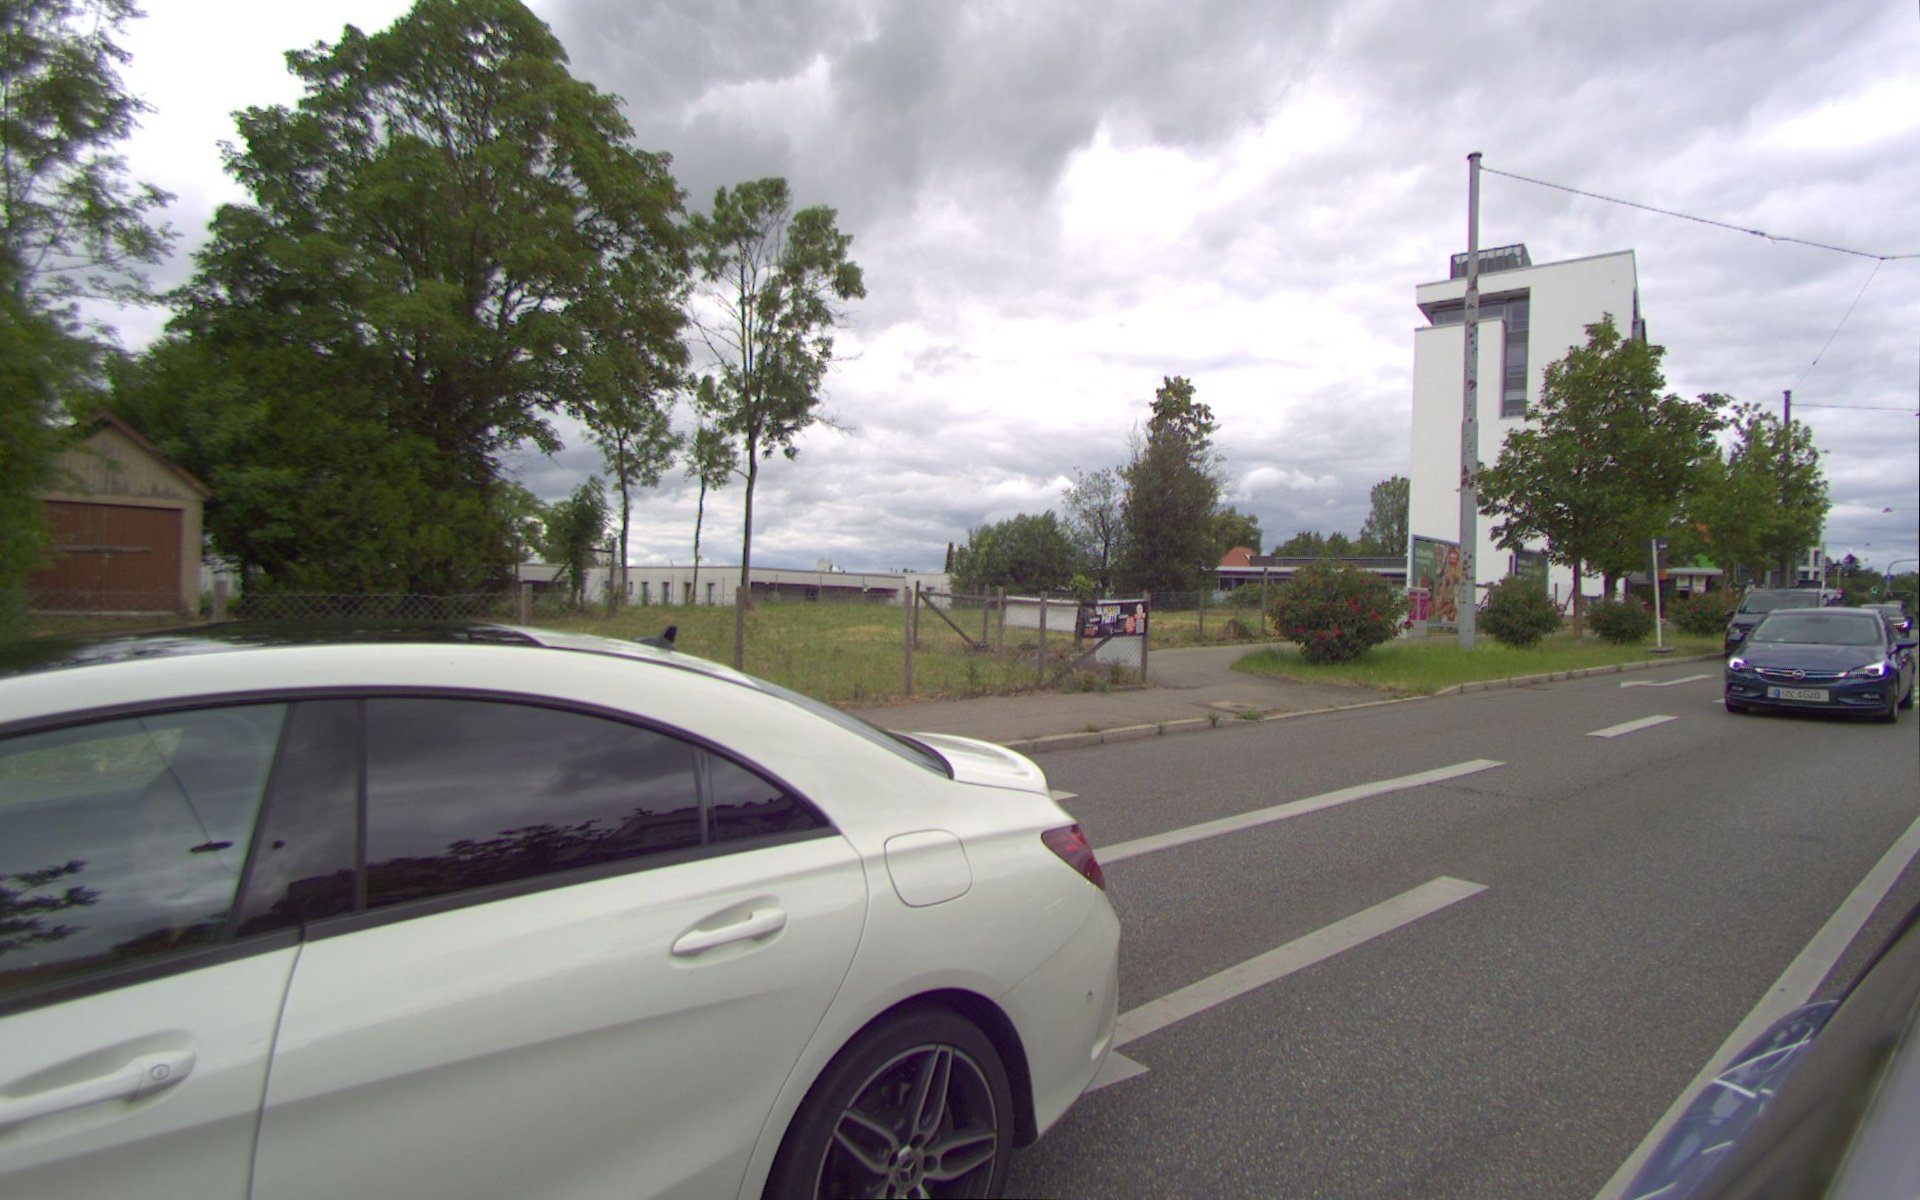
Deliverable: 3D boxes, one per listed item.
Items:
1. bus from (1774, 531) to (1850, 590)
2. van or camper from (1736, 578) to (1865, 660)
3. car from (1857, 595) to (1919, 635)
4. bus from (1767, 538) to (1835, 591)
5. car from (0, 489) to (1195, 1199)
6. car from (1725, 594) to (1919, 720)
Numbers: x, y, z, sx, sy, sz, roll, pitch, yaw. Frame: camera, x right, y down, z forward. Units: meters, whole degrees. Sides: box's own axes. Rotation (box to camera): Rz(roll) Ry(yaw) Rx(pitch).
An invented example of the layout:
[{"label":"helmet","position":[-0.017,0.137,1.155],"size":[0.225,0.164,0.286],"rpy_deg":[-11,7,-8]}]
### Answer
[{"label":"bus","position":[53.038,-2.374,63.227],"size":[2.975,3.282,9.734],"rpy_deg":[1,1,37]},{"label":"van or camper","position":[21.281,0.444,25.546],"size":[4.764,1.902,1.807],"rpy_deg":[0,0,-41]},{"label":"car","position":[37.695,0.585,41.061],"size":[1.728,1.501,4.307],"rpy_deg":[0,0,39]},{"label":"bus","position":[58.592,-2.407,70.699],"size":[3.028,3.276,9.214],"rpy_deg":[2,1,36]},{"label":"car","position":[-1.752,0.645,1.781],"size":[4.689,1.525,1.870],"rpy_deg":[2,-2,-41]},{"label":"car","position":[12.305,0.684,14.166],"size":[4.293,1.501,1.733],"rpy_deg":[0,0,-41]}]
